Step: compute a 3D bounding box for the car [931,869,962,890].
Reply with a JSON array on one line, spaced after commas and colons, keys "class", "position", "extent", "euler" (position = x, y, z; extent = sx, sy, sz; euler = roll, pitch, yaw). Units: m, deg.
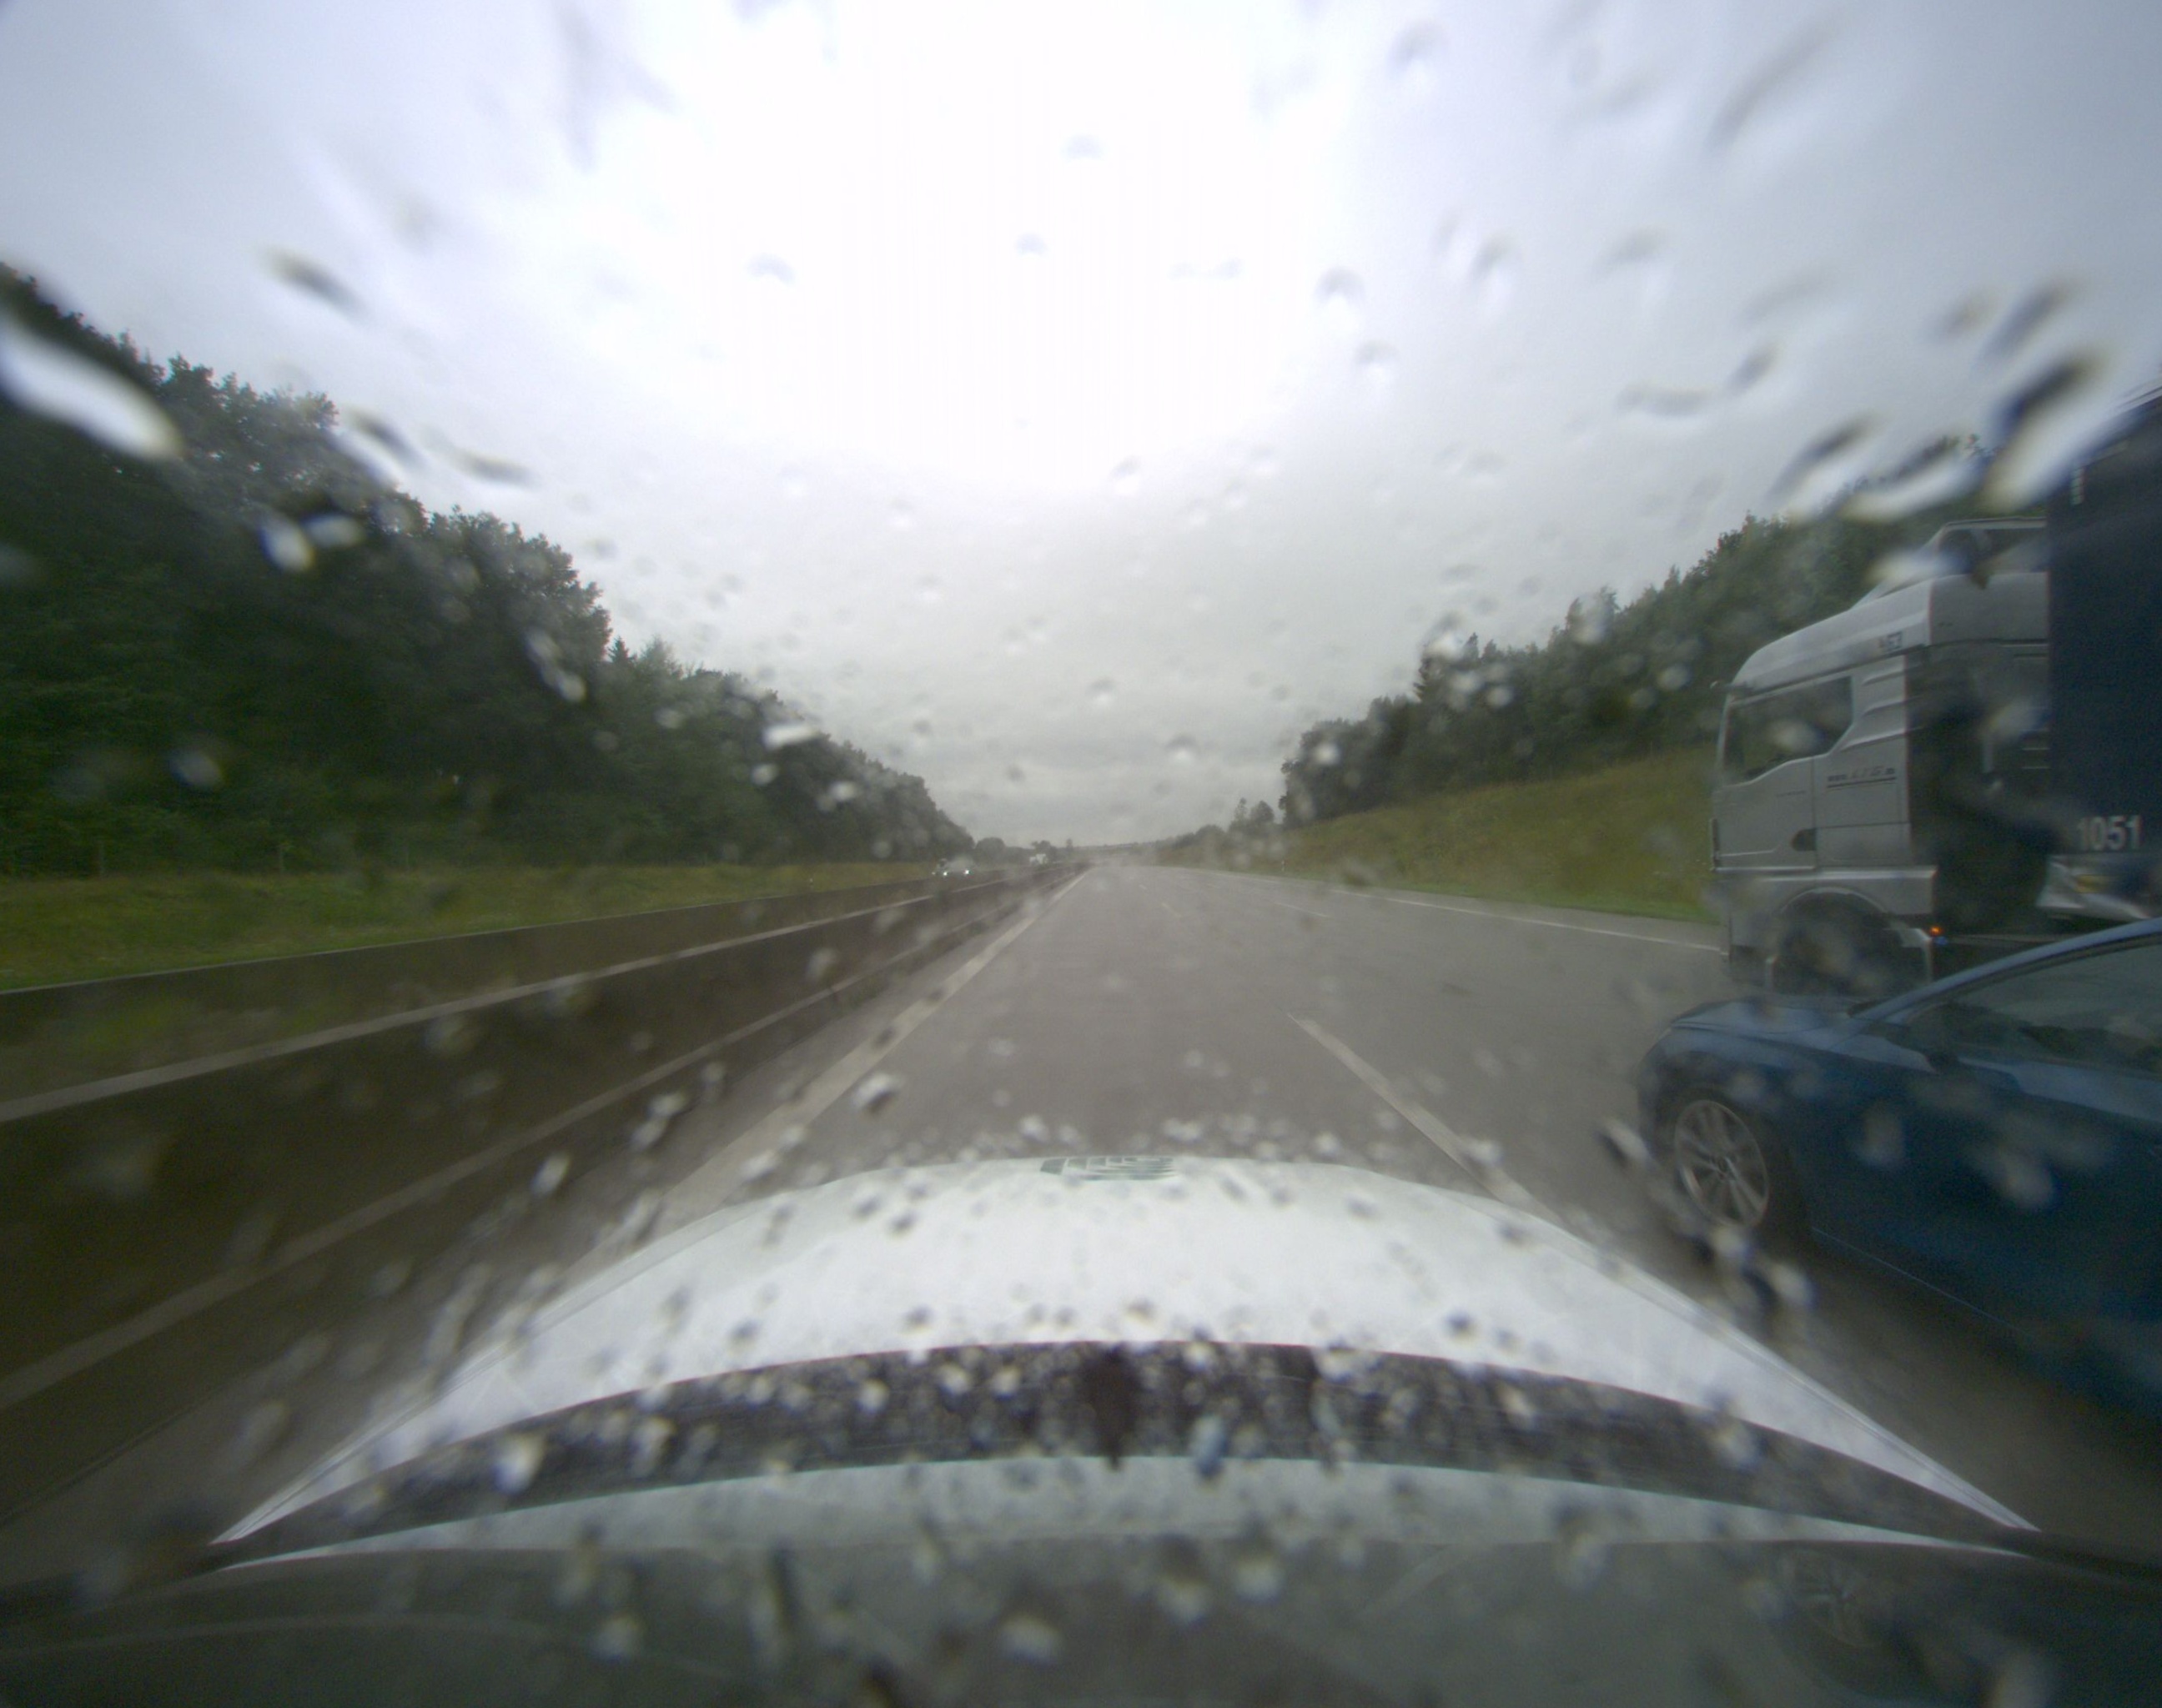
[{"class": "car", "position": [-13.123, 2.472, 79.627], "extent": [2.053, 1.802, 4.853], "euler": [-2, 0, 1]}]

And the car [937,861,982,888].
[{"class": "car", "position": [-7.985, 1.304, 54.023], "extent": [1.960, 1.610, 4.855], "euler": [-3, 0, 2]}]

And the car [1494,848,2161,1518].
[{"class": "car", "position": [3.262, 0.727, 2.478], "extent": [1.723, 1.459, 4.674], "euler": [-2, -1, 2]}]

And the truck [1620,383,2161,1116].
[{"class": "truck", "position": [7.234, -0.571, 6.239], "extent": [2.626, 3.954, 5.690], "euler": [0, 0, 3]}]

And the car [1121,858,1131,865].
[{"class": "car", "position": [9.743, 1.554, 176.307], "extent": [1.841, 1.331, 4.431], "euler": [-1, 1, 2]}]

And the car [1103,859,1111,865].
[{"class": "car", "position": [5.573, 1.701, 173.325], "extent": [1.723, 1.331, 4.432], "euler": [-1, 1, 2]}]
